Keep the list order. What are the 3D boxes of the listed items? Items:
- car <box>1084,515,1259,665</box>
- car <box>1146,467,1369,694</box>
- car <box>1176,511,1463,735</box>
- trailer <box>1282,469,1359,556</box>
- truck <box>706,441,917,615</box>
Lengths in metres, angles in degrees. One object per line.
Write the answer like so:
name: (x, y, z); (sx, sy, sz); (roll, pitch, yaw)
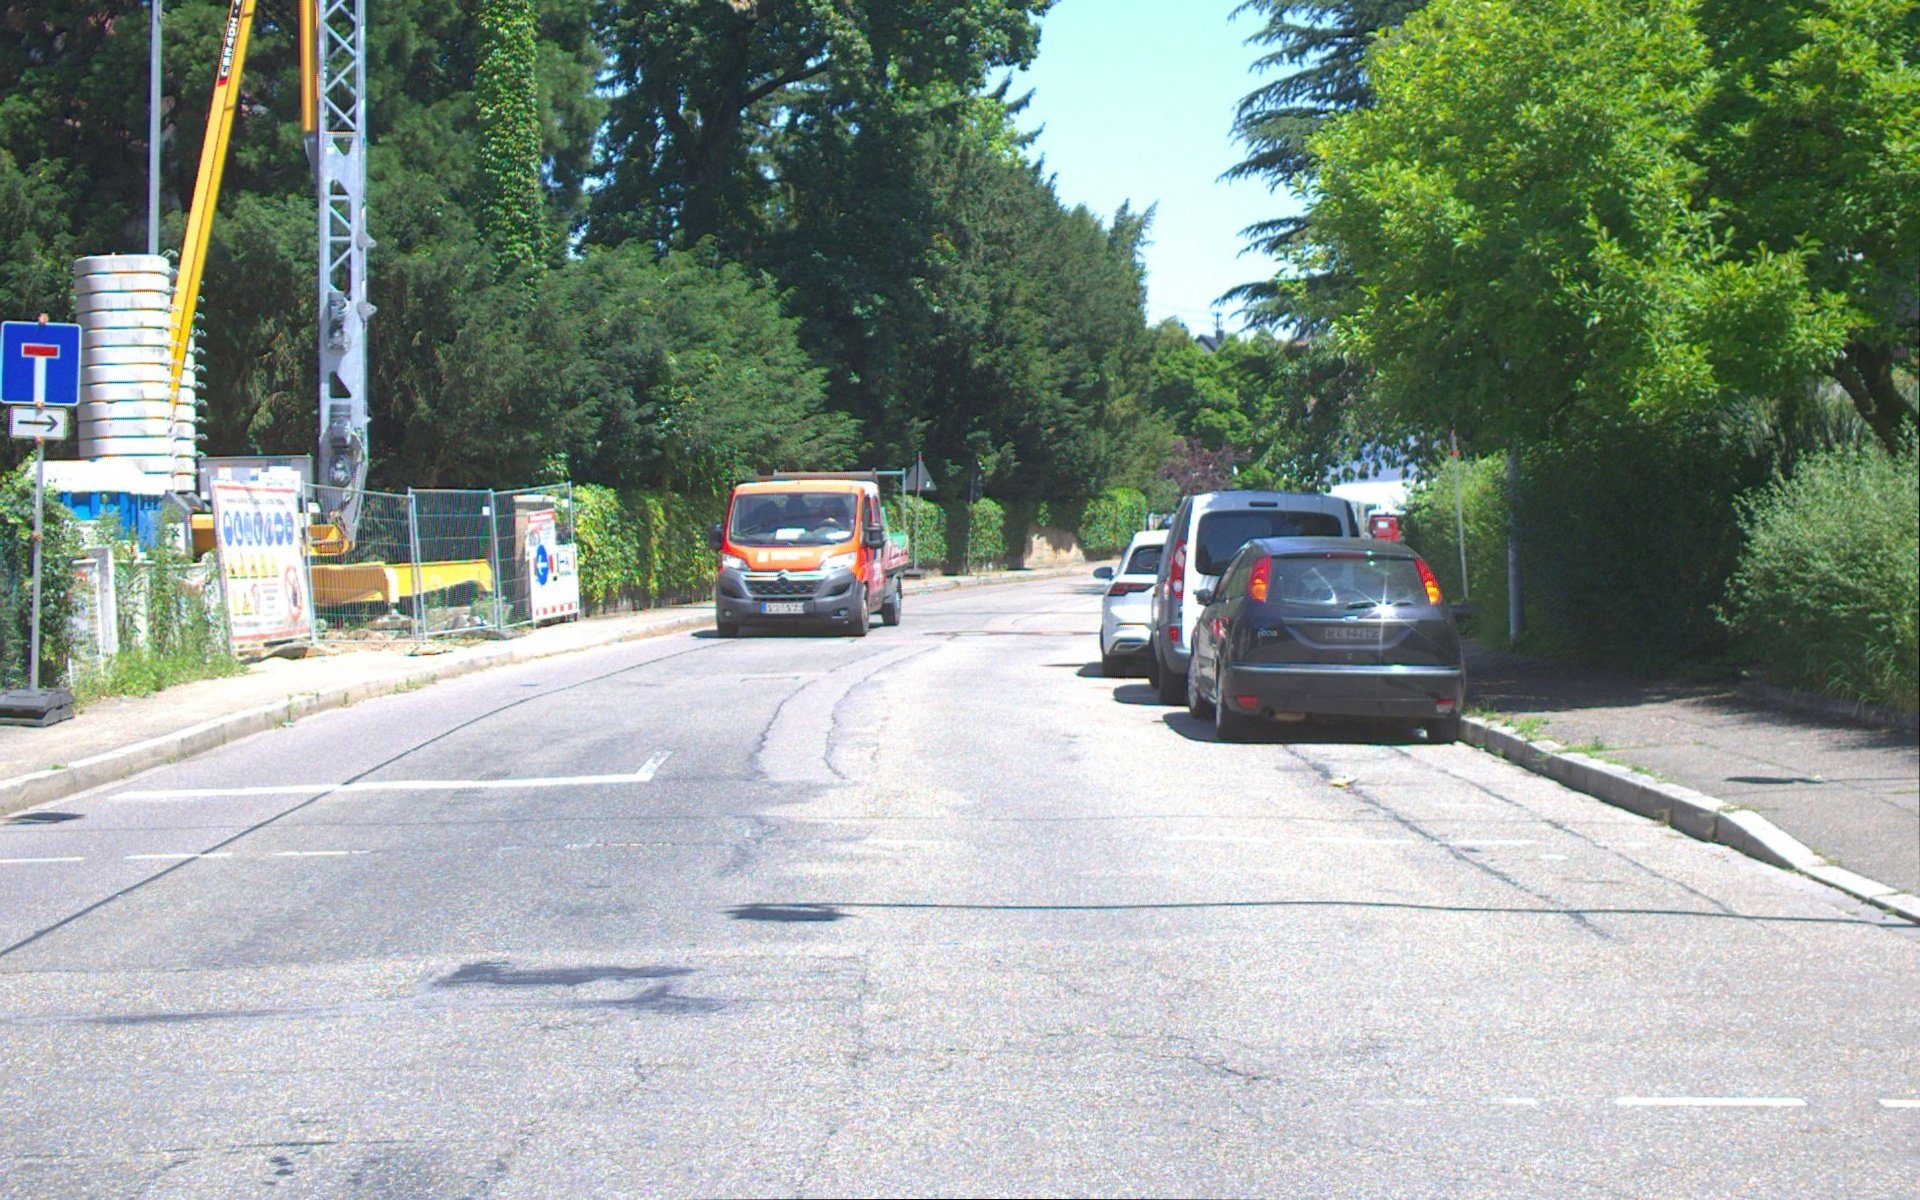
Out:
car: (2.184, -0.148, 35.310); (1.662, 1.430, 4.128); (1, 1, 4)
car: (2.529, -0.212, 30.037); (1.662, 1.797, 4.203); (2, 2, 2)
car: (2.551, 0.104, 25.188); (1.628, 1.458, 4.017); (2, 2, 0)
trailer: (8.855, -2.165, 84.326); (1.680, 2.060, 3.707); (1, 2, 9)
truck: (-2.041, -1.066, 49.500); (2.128, 2.330, 6.433); (0, 2, 6)
